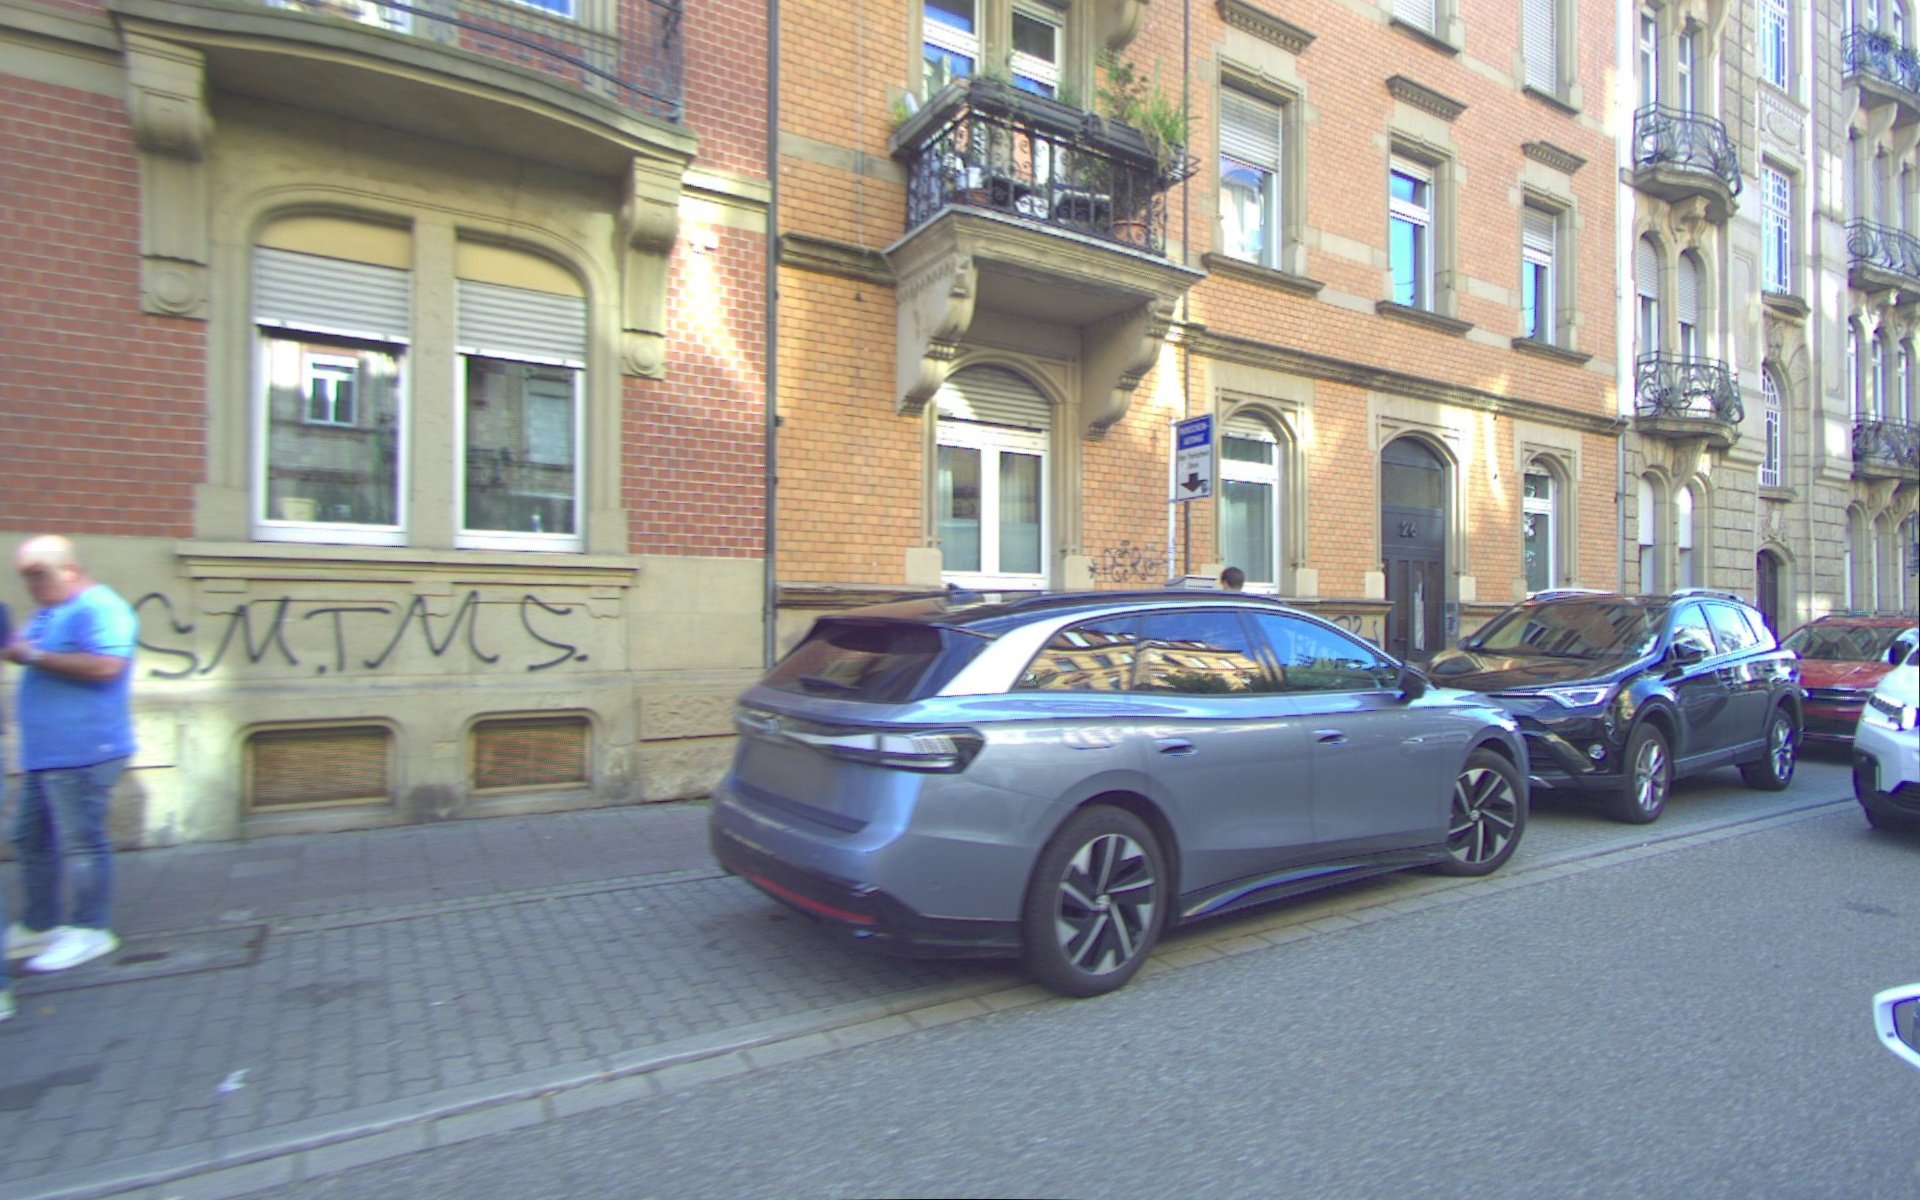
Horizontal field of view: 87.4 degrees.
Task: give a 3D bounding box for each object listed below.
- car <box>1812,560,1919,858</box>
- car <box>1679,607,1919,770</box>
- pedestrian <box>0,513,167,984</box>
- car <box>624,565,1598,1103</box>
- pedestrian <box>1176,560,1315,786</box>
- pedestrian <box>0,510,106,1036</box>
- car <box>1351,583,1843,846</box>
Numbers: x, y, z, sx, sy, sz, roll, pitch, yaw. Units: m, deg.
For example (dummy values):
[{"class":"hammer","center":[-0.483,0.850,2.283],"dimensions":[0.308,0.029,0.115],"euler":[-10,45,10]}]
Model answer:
[{"class":"car","center":[8.062,0.715,7.013],"dimensions":[4.387,1.852,1.908],"euler":[1,0,-31]},{"class":"car","center":[10.457,0.911,11.624],"dimensions":[4.378,1.565,1.983],"euler":[1,-2,-32]},{"class":"pedestrian","center":[-3.608,0.531,3.948],"dimensions":[0.669,1.683,0.550],"euler":[1,0,29]},{"class":"car","center":[1.145,0.734,5.234],"dimensions":[5.210,1.599,1.813],"euler":[1,0,-35]},{"class":"pedestrian","center":[2.456,0.595,8.677],"dimensions":[0.852,1.832,0.753],"euler":[1,0,-27]},{"class":"pedestrian","center":[-3.424,0.567,3.371],"dimensions":[0.555,1.732,0.667],"euler":[1,0,24]},{"class":"car","center":[5.631,0.744,8.646],"dimensions":[4.844,1.703,1.861],"euler":[0,0,-35]}]
